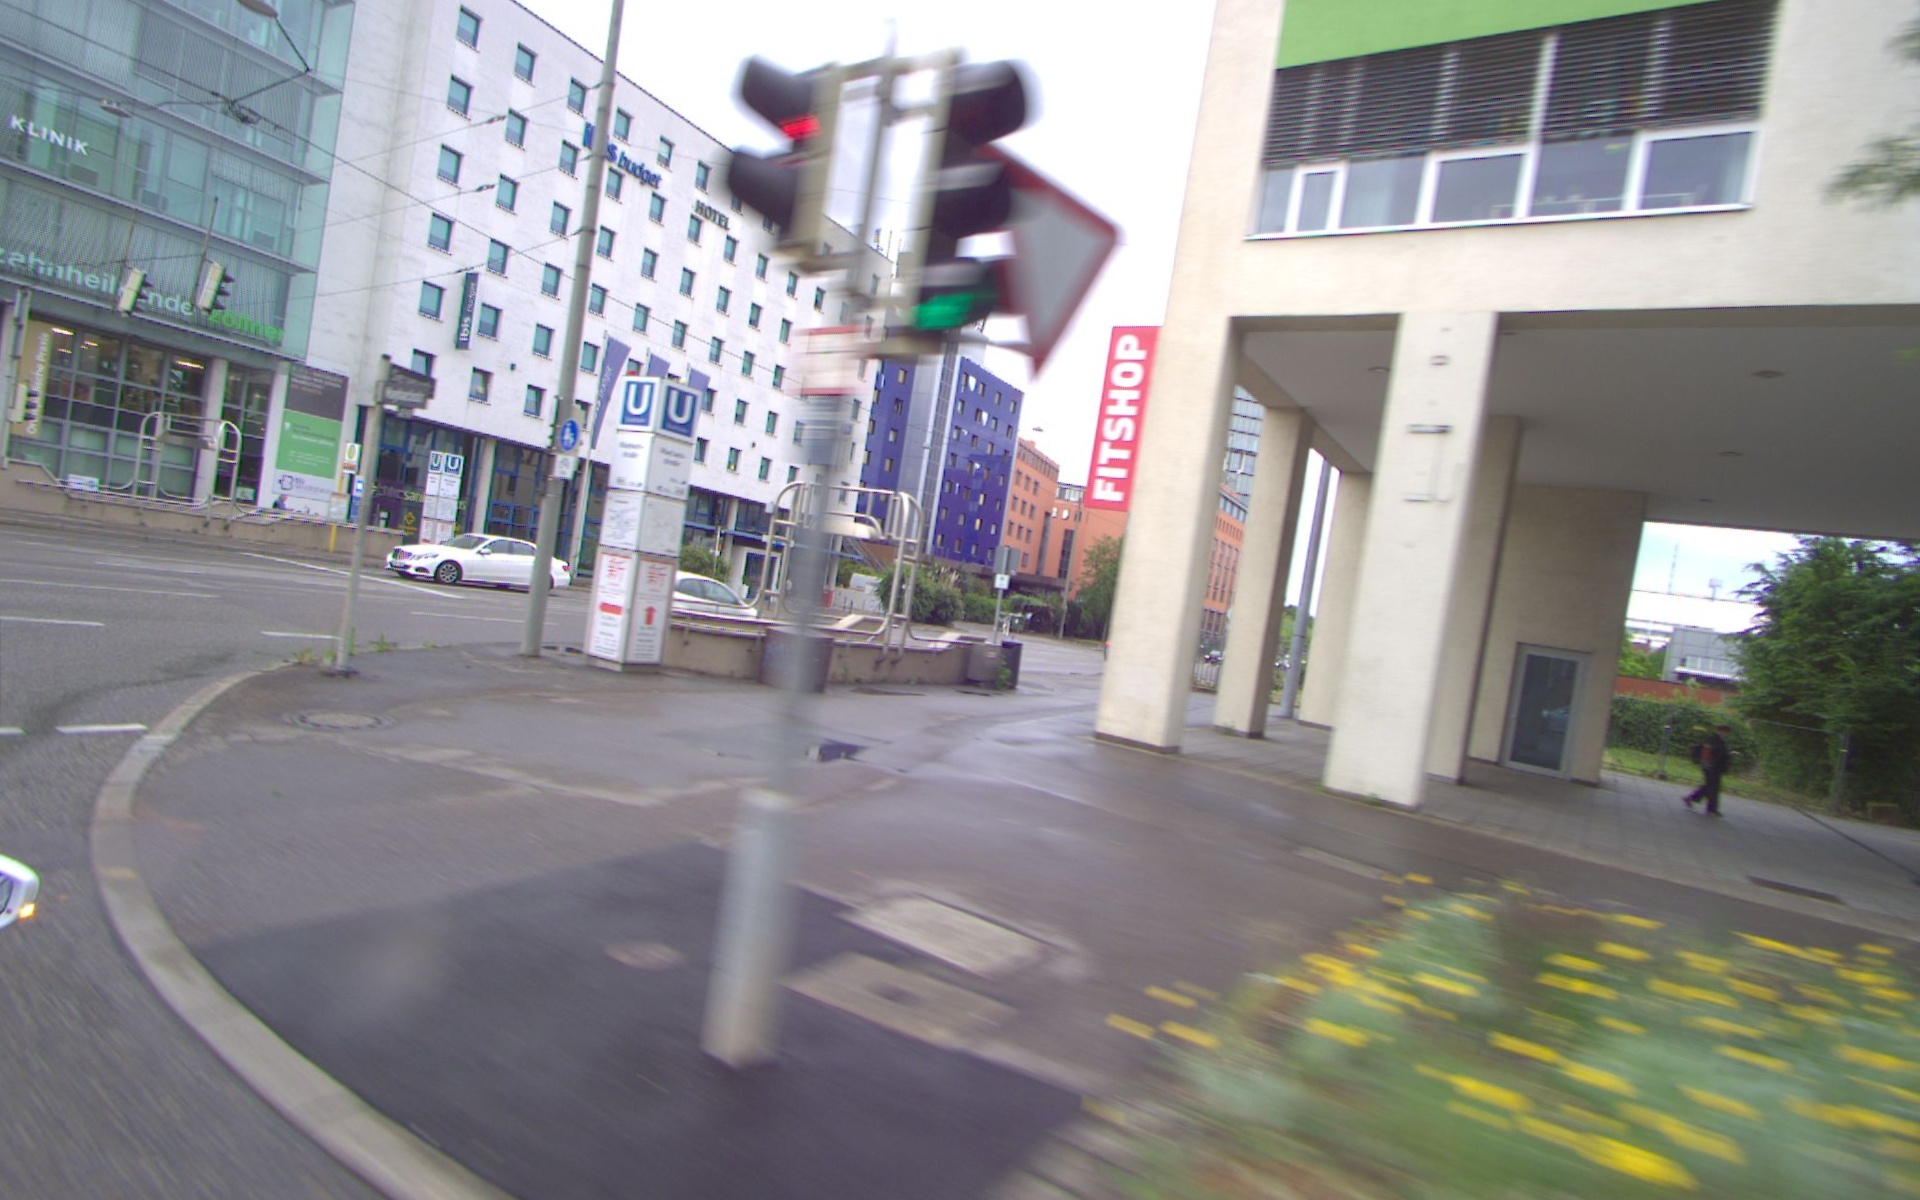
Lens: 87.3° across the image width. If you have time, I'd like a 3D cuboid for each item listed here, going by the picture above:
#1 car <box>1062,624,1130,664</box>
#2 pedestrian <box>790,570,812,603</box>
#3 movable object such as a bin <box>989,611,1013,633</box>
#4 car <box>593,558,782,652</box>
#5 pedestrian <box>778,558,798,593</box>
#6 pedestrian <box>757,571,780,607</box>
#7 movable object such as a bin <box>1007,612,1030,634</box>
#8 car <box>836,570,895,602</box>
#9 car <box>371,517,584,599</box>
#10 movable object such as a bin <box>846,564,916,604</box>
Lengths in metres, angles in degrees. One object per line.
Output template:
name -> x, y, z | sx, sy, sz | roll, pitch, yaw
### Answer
car -> 7.155, 2.329, 52.577 | 1.966, 1.592, 3.995 | 10, 0, 30
pedestrian -> -10.326, -0.865, 65.321 | 0.892, 2.036, 0.809 | 9, -2, -31
movable object such as a bin -> 3.244, 1.752, 79.561 | 1.375, 1.507, 0.948 | 7, -2, 41
car -> -5.655, 0.169, 21.321 | 1.646, 1.491, 3.778 | 10, 0, 25
pedestrian -> -10.957, -1.567, 64.143 | 0.800, 2.036, 0.805 | 8, -2, 2
pedestrian -> -11.941, -0.680, 62.758 | 0.791, 2.036, 0.814 | 7, -2, 31
movable object such as a bin -> 4.537, 1.811, 78.315 | 1.369, 1.507, 0.952 | 8, -2, 20
car -> -8.106, -1.190, 86.217 | 4.648, 2.036, 1.892 | 7, -2, 30
car -> -12.835, -1.063, 27.155 | 1.791, 1.403, 4.959 | 9, 0, 28
movable object such as a bin -> -6.952, -1.413, 88.069 | 5.547, 2.657, 2.161 | 7, -2, 30
